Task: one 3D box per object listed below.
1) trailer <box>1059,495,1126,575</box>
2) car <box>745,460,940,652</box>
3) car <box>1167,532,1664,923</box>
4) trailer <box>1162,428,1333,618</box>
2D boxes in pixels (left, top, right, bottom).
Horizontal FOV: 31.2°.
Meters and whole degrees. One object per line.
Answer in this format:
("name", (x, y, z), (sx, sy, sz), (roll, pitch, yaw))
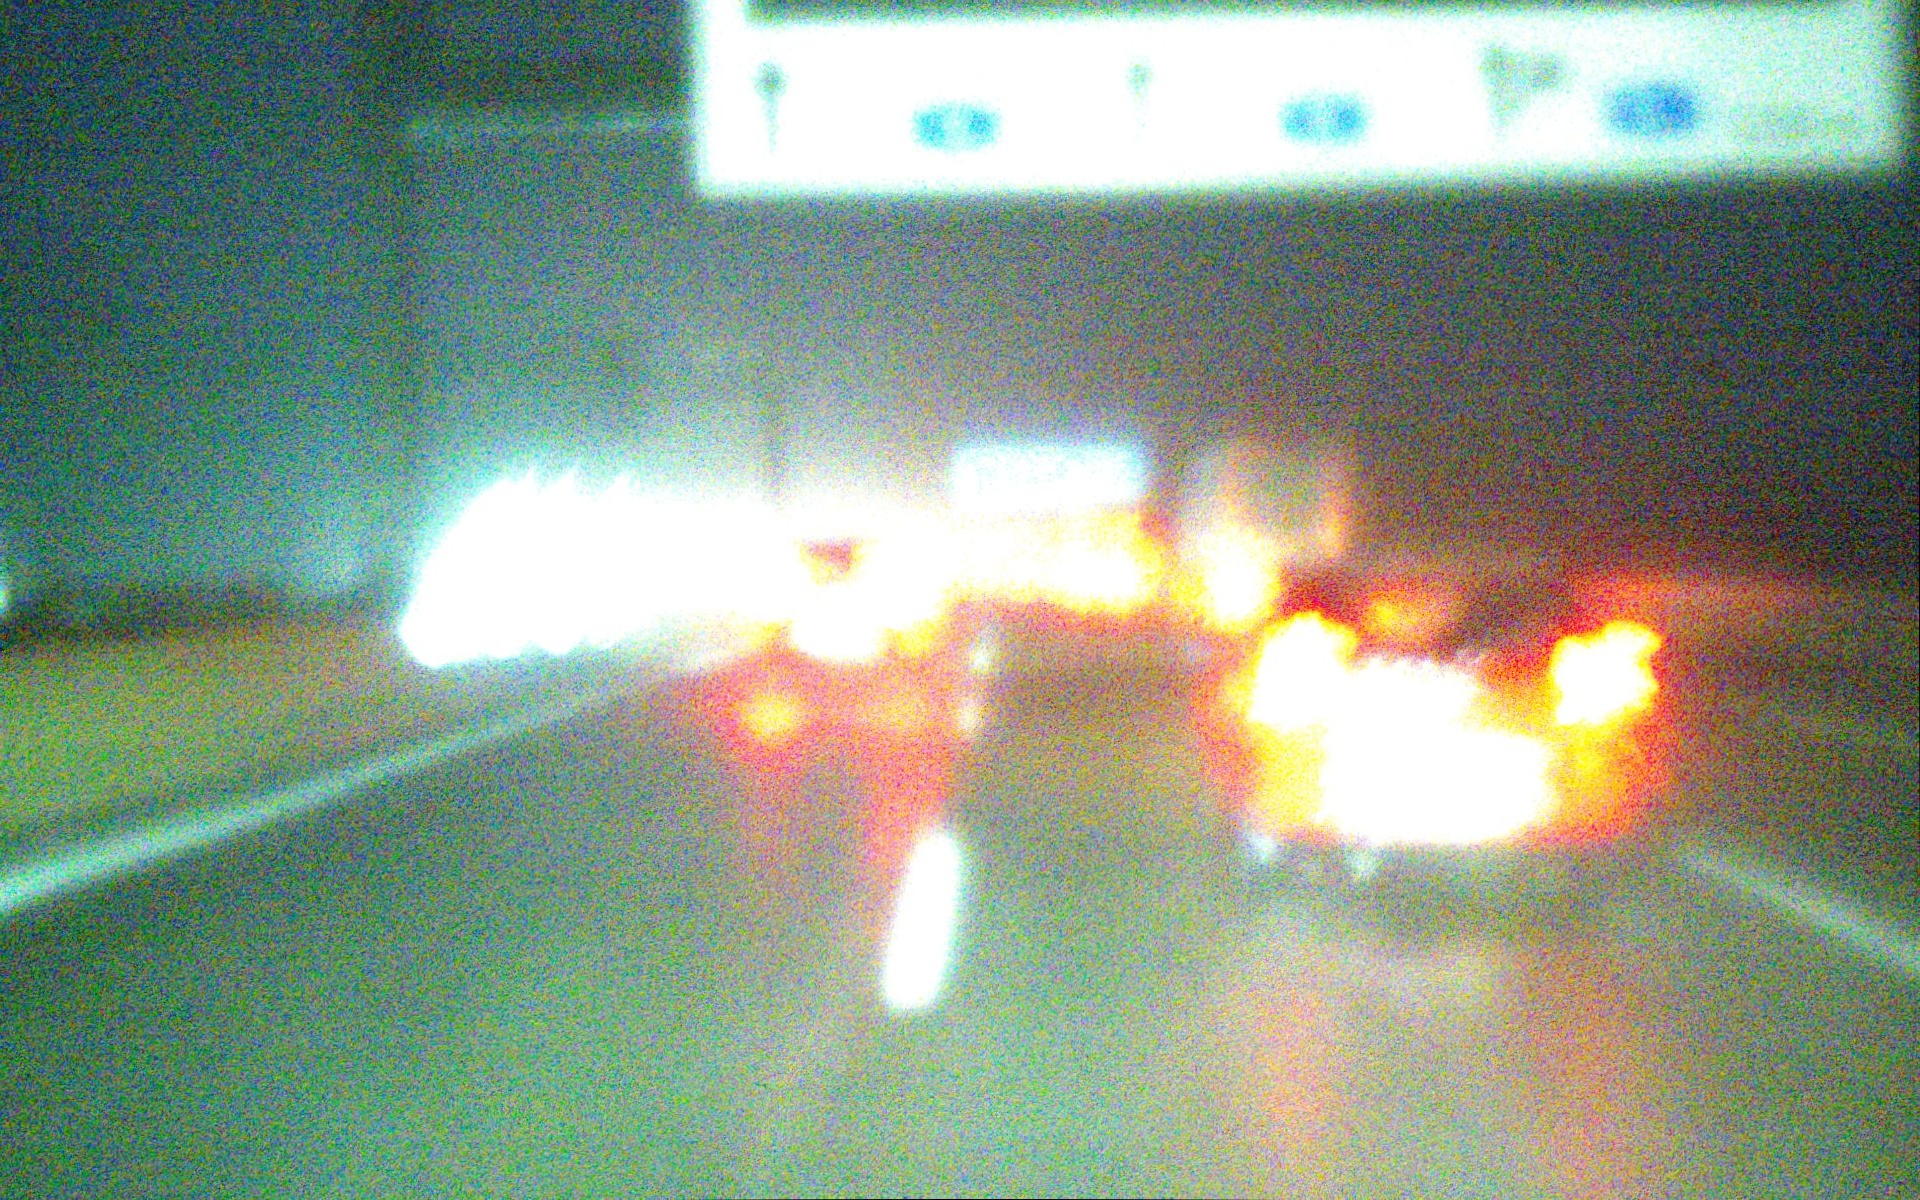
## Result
("trailer", (7.607, -3.701, 199.153), (3.041, 4.095, 13.828), (-2, -1, -1))
("car", (-1.243, -0.529, 37.933), (1.993, 2.006, 4.000), (0, 2, 0))
("car", (1.969, 0.530, 16.094), (1.740, 1.570, 4.494), (0, 0, 0))
("trailer", (6.718, -1.680, 82.502), (2.903, 4.095, 14.487), (-2, 0, 0))
